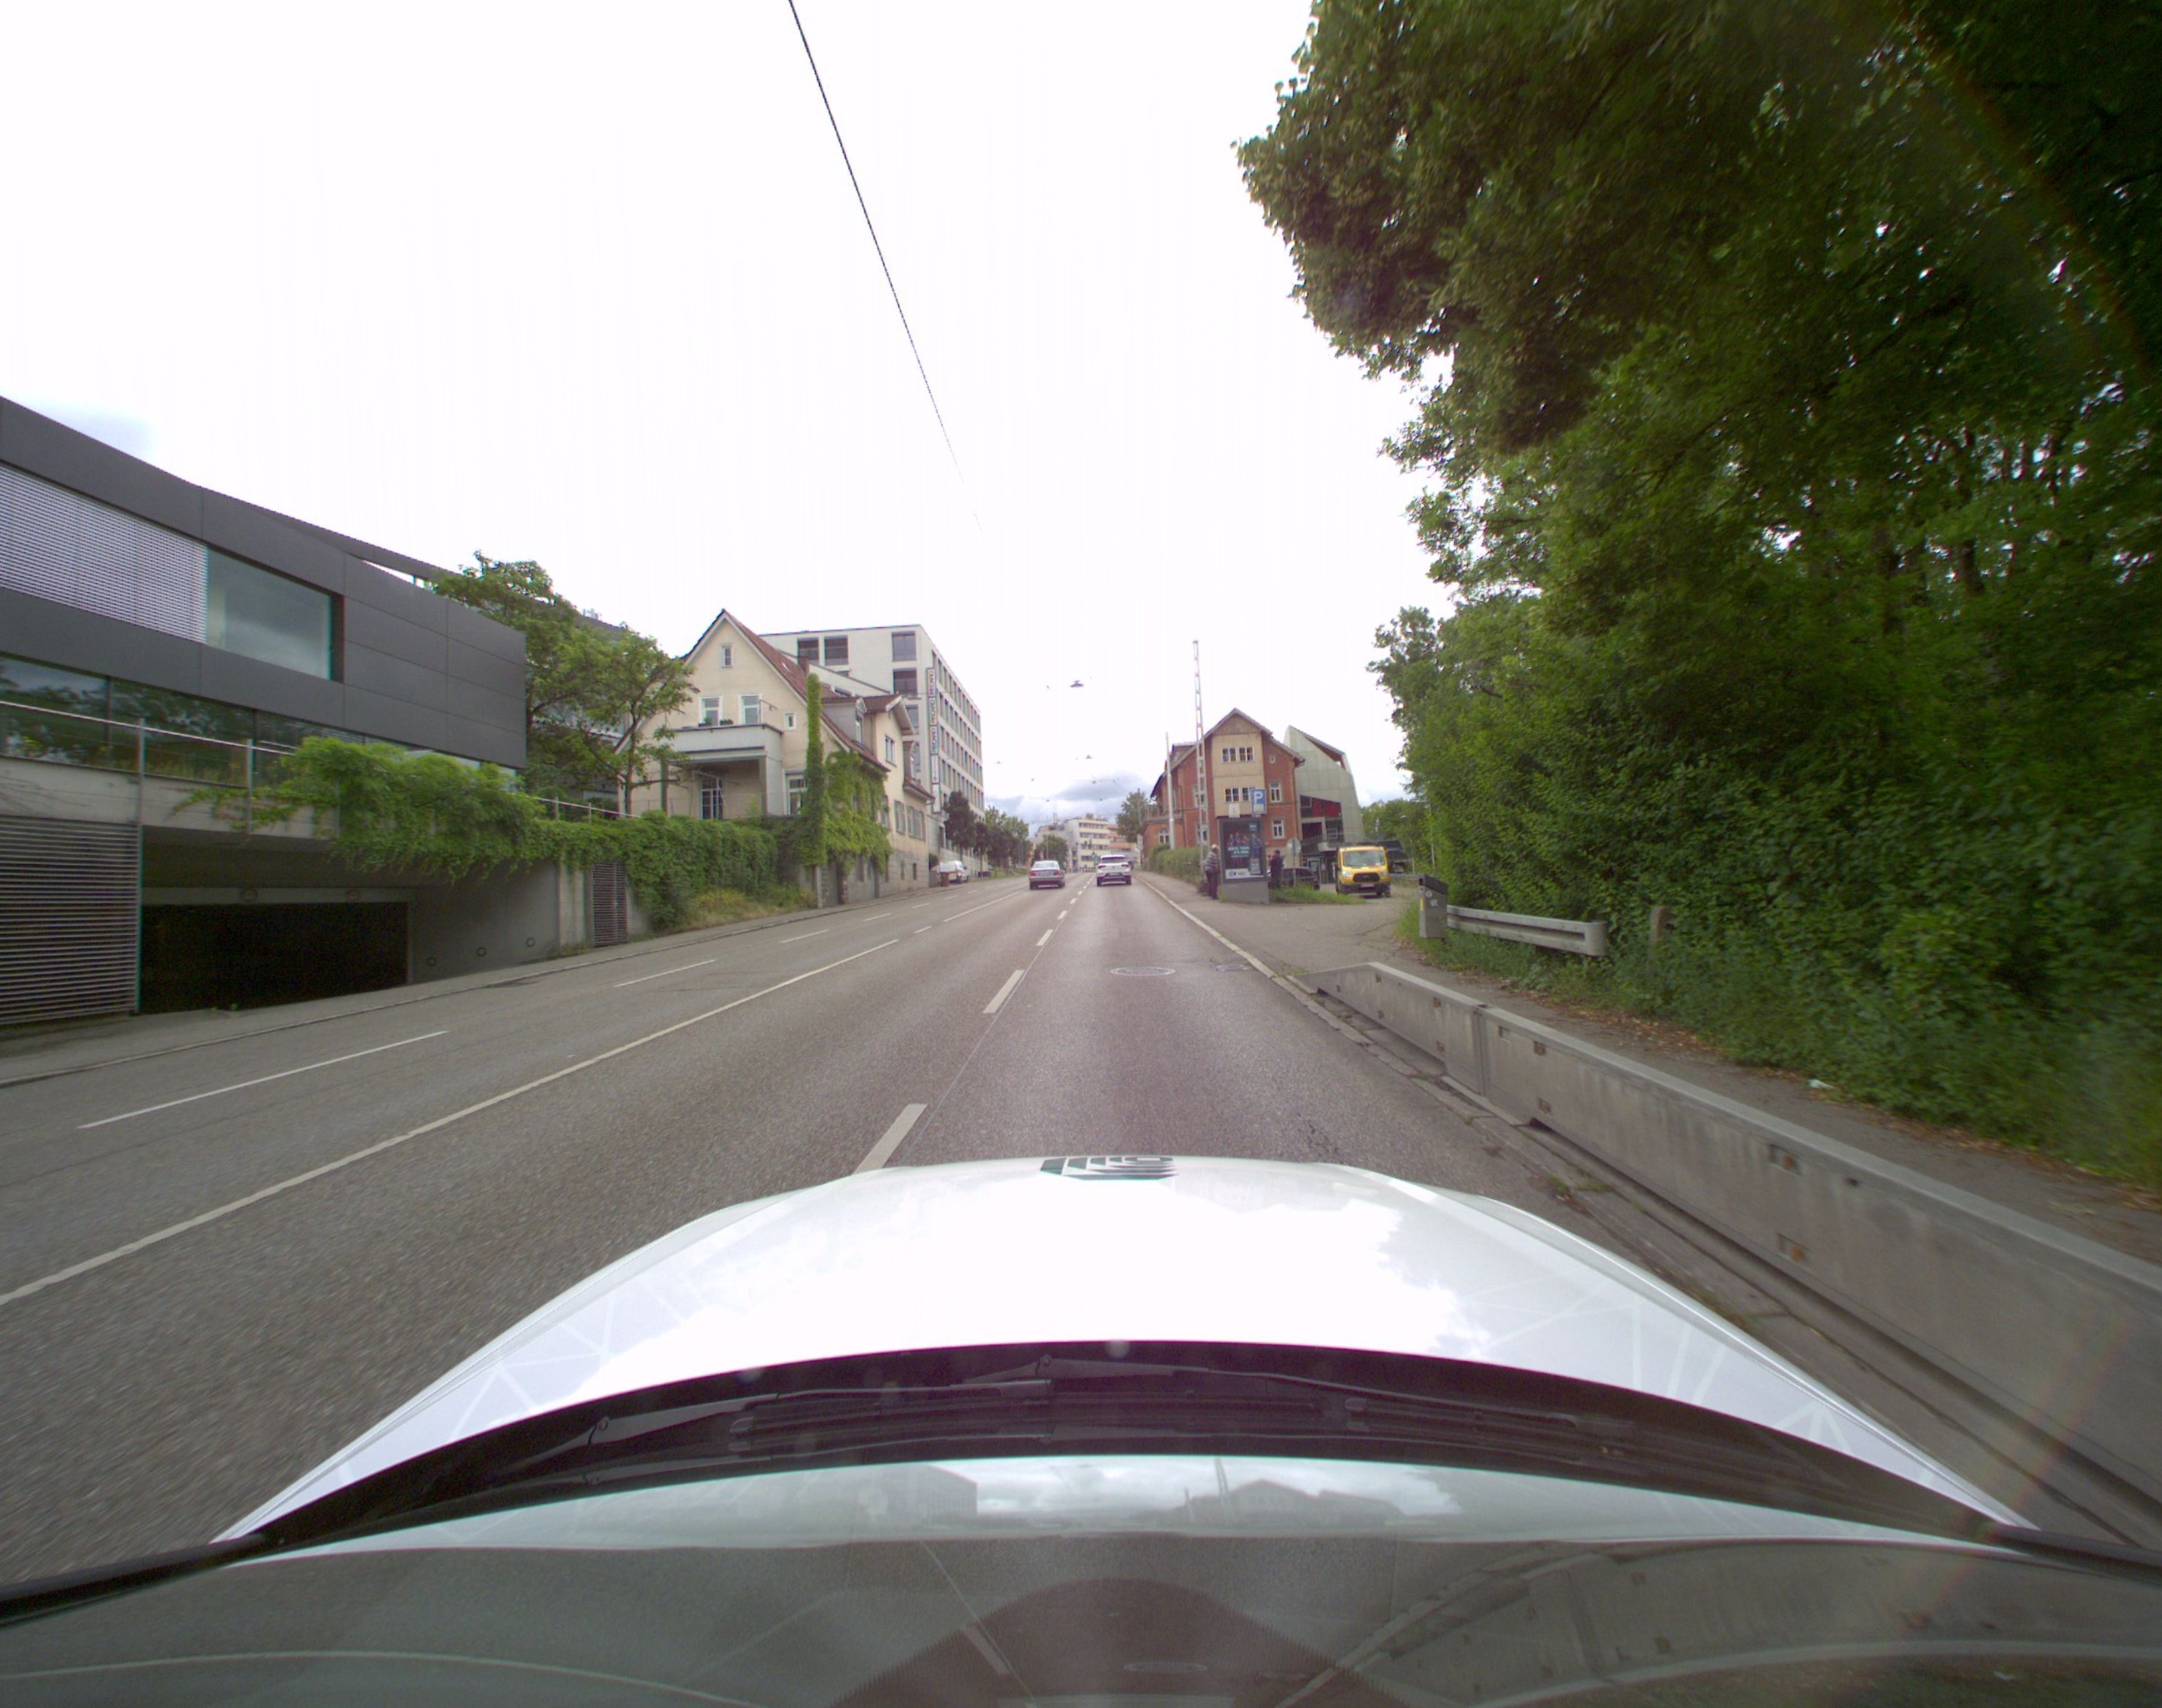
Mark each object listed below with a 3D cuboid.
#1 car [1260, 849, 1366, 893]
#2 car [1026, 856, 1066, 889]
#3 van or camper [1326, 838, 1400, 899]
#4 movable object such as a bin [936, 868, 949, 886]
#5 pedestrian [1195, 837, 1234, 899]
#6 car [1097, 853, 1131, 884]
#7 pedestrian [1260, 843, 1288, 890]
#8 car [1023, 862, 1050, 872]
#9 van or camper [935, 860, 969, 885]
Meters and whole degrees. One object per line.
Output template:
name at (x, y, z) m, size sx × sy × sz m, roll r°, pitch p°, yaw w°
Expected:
car at (8.409, 0.605, 29.695) m, size 3.473 × 1.541 × 1.579 m, roll 0°, pitch 0°, yaw 3°
car at (-1.723, 0.903, 41.217) m, size 1.693 × 1.516 × 3.737 m, roll -3°, pitch 0°, yaw 2°
van or camper at (12.263, 0.546, 35.871) m, size 2.201 × 2.329 × 6.200 m, roll -4°, pitch 0°, yaw 12°
movable object such as a bin at (-9.601, 1.604, 56.360) m, size 0.808 × 1.189 × 0.697 m, roll 1°, pitch -1°, yaw -4°
pedestrian at (4.248, 0.441, 25.929) m, size 0.813 × 1.884 × 0.944 m, roll -4°, pitch 0°, yaw -13°
car at (1.707, 0.721, 42.577) m, size 1.693 × 1.548 × 3.737 m, roll 0°, pitch 0°, yaw 2°
pedestrian at (6.666, 0.431, 28.130) m, size 0.586 × 1.571 × 0.642 m, roll -4°, pitch 0°, yaw -24°
car at (-7.134, 2.059, 130.654) m, size 4.023 × 1.544 × 1.759 m, roll -1°, pitch -2°, yaw -44°
van or camper at (-10.960, 1.523, 69.627) m, size 2.054 × 1.968 × 4.871 m, roll -3°, pitch 0°, yaw -1°
